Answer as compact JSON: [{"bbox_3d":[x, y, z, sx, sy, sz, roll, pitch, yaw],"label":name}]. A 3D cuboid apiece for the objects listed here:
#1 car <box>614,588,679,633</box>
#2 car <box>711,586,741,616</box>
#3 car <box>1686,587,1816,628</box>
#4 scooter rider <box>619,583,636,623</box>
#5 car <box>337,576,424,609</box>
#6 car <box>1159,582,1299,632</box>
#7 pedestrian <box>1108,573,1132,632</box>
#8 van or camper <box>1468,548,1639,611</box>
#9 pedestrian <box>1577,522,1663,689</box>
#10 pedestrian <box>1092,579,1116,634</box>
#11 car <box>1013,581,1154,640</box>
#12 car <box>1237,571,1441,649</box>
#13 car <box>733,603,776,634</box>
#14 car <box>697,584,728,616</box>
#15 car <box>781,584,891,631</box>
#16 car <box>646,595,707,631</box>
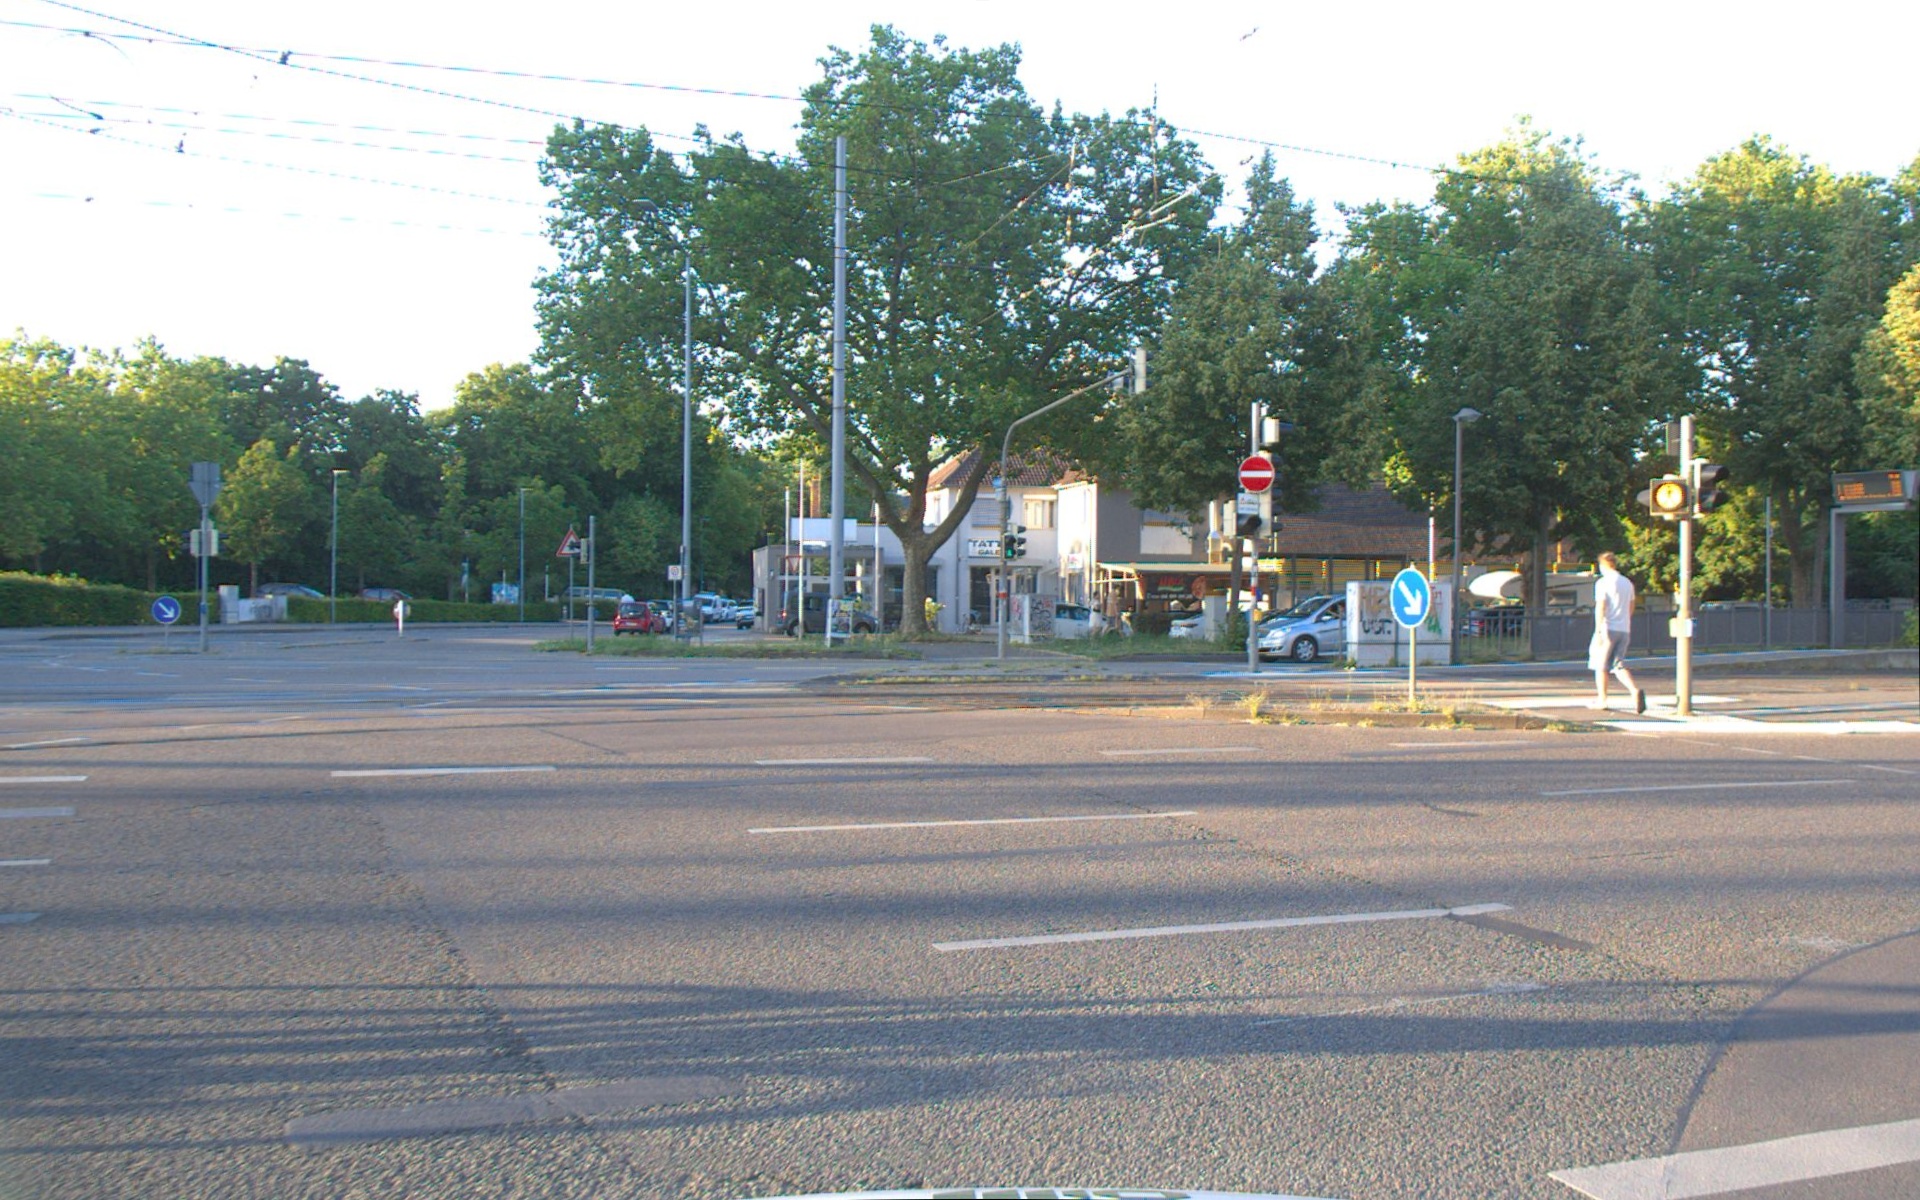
[{"bbox_3d":[-13.716,0.449,72.526,1.829,1.907,3.876,1,0,4],"label":"car"},{"bbox_3d":[-16.089,0.047,113.535,1.957,2.049,3.991,0,0,-10],"label":"car"},{"bbox_3d":[29.782,0.272,62.290,4.159,1.490,1.992,1,0,-15],"label":"car"},{"bbox_3d":[-15.667,0.140,77.929,0.691,1.887,0.665,1,-1,-18],"label":"scooter rider"},{"bbox_3d":[-28.743,-0.366,82.140,3.922,1.588,1.992,0,0,-16],"label":"car"},{"bbox_3d":[8.927,0.241,54.958,4.159,1.605,1.992,0,0,-15],"label":"car"},{"bbox_3d":[4.839,0.071,49.984,0.703,1.785,0.898,0,0,7],"label":"pedestrian"},{"bbox_3d":[24.369,-0.804,67.941,6.450,2.452,2.256,0,-1,-13],"label":"van or camper"},{"bbox_3d":[7.427,0.058,18.642,0.745,1.822,0.803,1,0,13],"label":"pedestrian"},{"bbox_3d":[4.440,0.189,51.038,0.703,1.667,0.898,0,0,7],"label":"pedestrian"},{"bbox_3d":[4.003,0.331,53.835,4.159,1.878,1.992,0,0,-15],"label":"car"},{"bbox_3d":[8.981,0.230,39.176,4.470,1.758,1.850,0,0,-22],"label":"car"},{"bbox_3d":[-11.545,1.014,93.182,1.875,1.630,4.000,1,0,1],"label":"car"},{"bbox_3d":[-16.280,-0.005,108.696,1.957,2.049,3.991,0,0,-10],"label":"car"},{"bbox_3d":[-5.115,0.301,68.159,4.300,1.867,1.943,0,0,-13],"label":"car"},{"bbox_3d":[-13.118,0.585,76.617,1.952,1.601,4.001,1,0,3],"label":"car"}]
